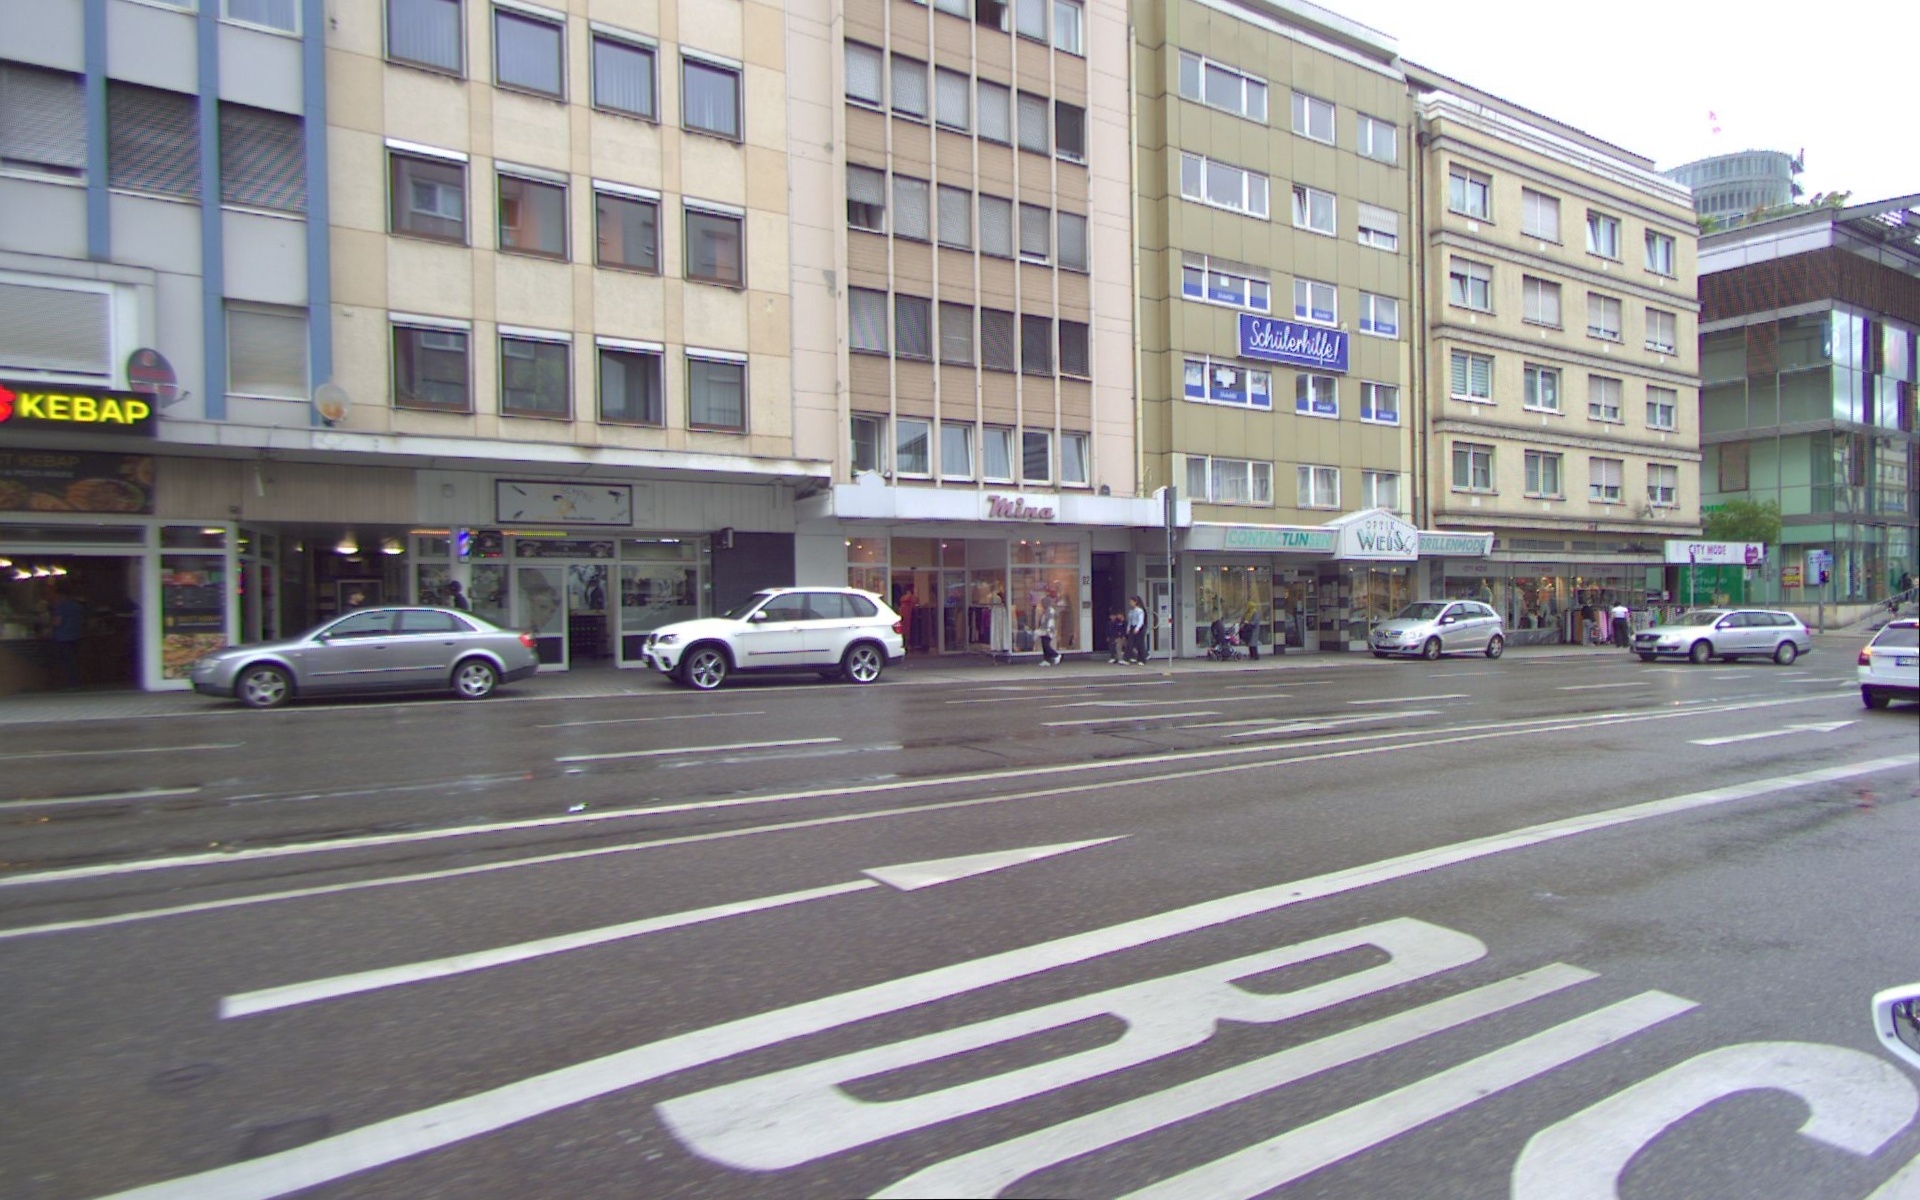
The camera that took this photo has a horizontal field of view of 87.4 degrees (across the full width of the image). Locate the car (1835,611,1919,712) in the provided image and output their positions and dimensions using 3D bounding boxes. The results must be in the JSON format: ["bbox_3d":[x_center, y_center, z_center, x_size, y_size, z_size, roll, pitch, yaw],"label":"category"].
[{"bbox_3d":[16.022,0.922,16.024,4.577,1.434,1.783,0,0,-31],"label":"car"}]

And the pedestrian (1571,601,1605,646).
[{"bbox_3d":[22.036,0.819,35.244,0.674,1.557,0.781,0,1,-31],"label":"pedestrian"}]

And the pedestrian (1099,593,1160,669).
[{"bbox_3d":[4.047,0.721,24.005,1.078,1.737,0.947,-1,2,-31],"label":"pedestrian"}]

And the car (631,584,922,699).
[{"bbox_3d":[-3.280,0.663,18.276,4.903,1.852,1.841,0,1,-29],"label":"car"}]

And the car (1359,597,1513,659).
[{"bbox_3d":[13.113,0.735,27.654,4.149,1.584,1.693,0,1,-28],"label":"car"}]

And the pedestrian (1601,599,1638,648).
[{"bbox_3d":[22.577,0.788,34.395,0.828,1.650,0.775,1,1,17],"label":"pedestrian"}]

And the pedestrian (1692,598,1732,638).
[{"bbox_3d":[30.188,0.716,40.329,1.139,1.607,0.868,0,0,-26],"label":"pedestrian"}]

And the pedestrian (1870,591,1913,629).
[{"bbox_3d":[43.475,0.442,46.886,0.988,1.736,1.042,0,1,-2],"label":"pedestrian"}]

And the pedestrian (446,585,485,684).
[{"bbox_3d":[-8.796,0.598,17.867,0.577,1.731,0.443,-1,2,-29],"label":"pedestrian"}]

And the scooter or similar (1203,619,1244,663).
[{"bbox_3d":[6.778,1.035,25.842,0.693,1.068,0.732,-1,2,-31],"label":"scooter or similar"}]

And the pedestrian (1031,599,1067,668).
[{"bbox_3d":[2.103,0.775,23.783,0.604,1.595,0.639,0,0,-29],"label":"pedestrian"}]

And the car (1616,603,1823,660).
[{"bbox_3d":[20.727,0.842,27.490,4.667,1.465,1.788,0,1,-9],"label":"car"}]

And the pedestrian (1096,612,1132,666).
[{"bbox_3d":[3.799,0.948,24.782,0.712,1.266,0.531,-1,2,-31],"label":"pedestrian"}]

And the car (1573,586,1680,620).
[{"bbox_3d":[34.174,0.104,51.590,1.790,1.567,4.248,-1,2,-39],"label":"car"}]

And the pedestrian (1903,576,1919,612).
[{"bbox_3d":[47.384,-0.287,49.572,0.997,1.736,1.032,0,1,-35],"label":"pedestrian"}]

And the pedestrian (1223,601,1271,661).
[{"bbox_3d":[7.525,0.797,26.296,1.053,1.504,0.663,-1,2,-31],"label":"pedestrian"}]

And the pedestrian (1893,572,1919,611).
[{"bbox_3d":[49.672,-0.463,52.665,0.840,2.007,0.871,0,1,-30],"label":"pedestrian"}]

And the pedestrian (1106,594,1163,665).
[{"bbox_3d":[4.420,0.735,25.424,1.074,1.718,0.947,-1,2,-31],"label":"pedestrian"}]

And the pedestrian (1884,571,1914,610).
[{"bbox_3d":[48.825,-0.486,52.213,0.963,2.007,0.876,0,1,-30],"label":"pedestrian"}]

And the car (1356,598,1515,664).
[{"bbox_3d":[13.139,0.798,27.731,4.348,1.571,1.838,-1,3,-30],"label":"car"}]

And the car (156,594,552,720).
[{"bbox_3d":[-8.803,0.737,15.078,4.820,1.630,1.857,0,1,-29],"label":"car"}]

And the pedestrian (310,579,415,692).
[{"bbox_3d":[-9.683,0.530,16.321,1.402,1.741,0.947,-1,2,-31],"label":"pedestrian"}]
